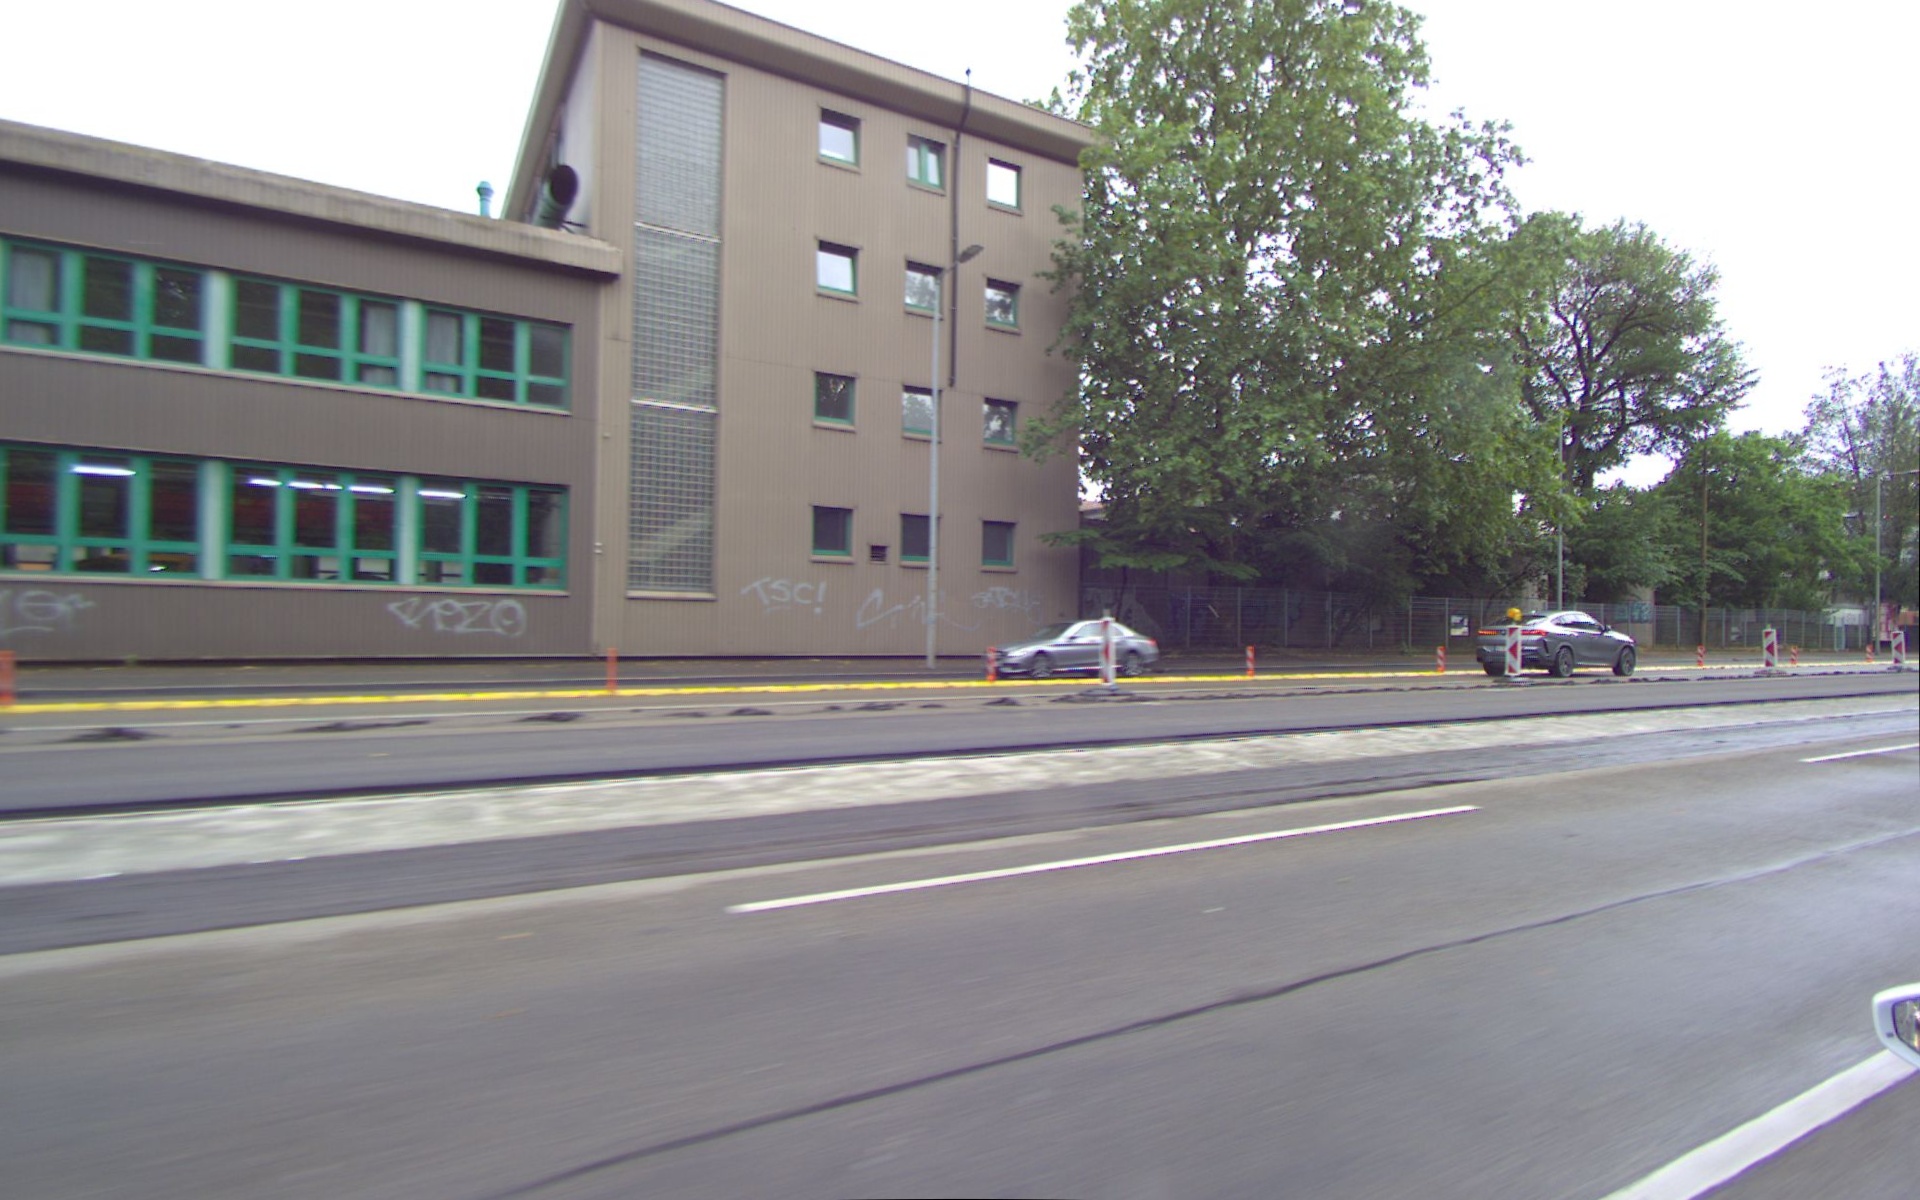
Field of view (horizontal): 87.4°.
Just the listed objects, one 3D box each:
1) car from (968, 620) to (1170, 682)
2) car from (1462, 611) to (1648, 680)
[{"bbox_3d":[2.736,1.238,24.848,4.735,1.366,1.984,2,0,-30],"label":"car"},{"bbox_3d":[15.566,1.154,26.206,4.998,1.634,2.066,2,0,-31],"label":"car"}]
